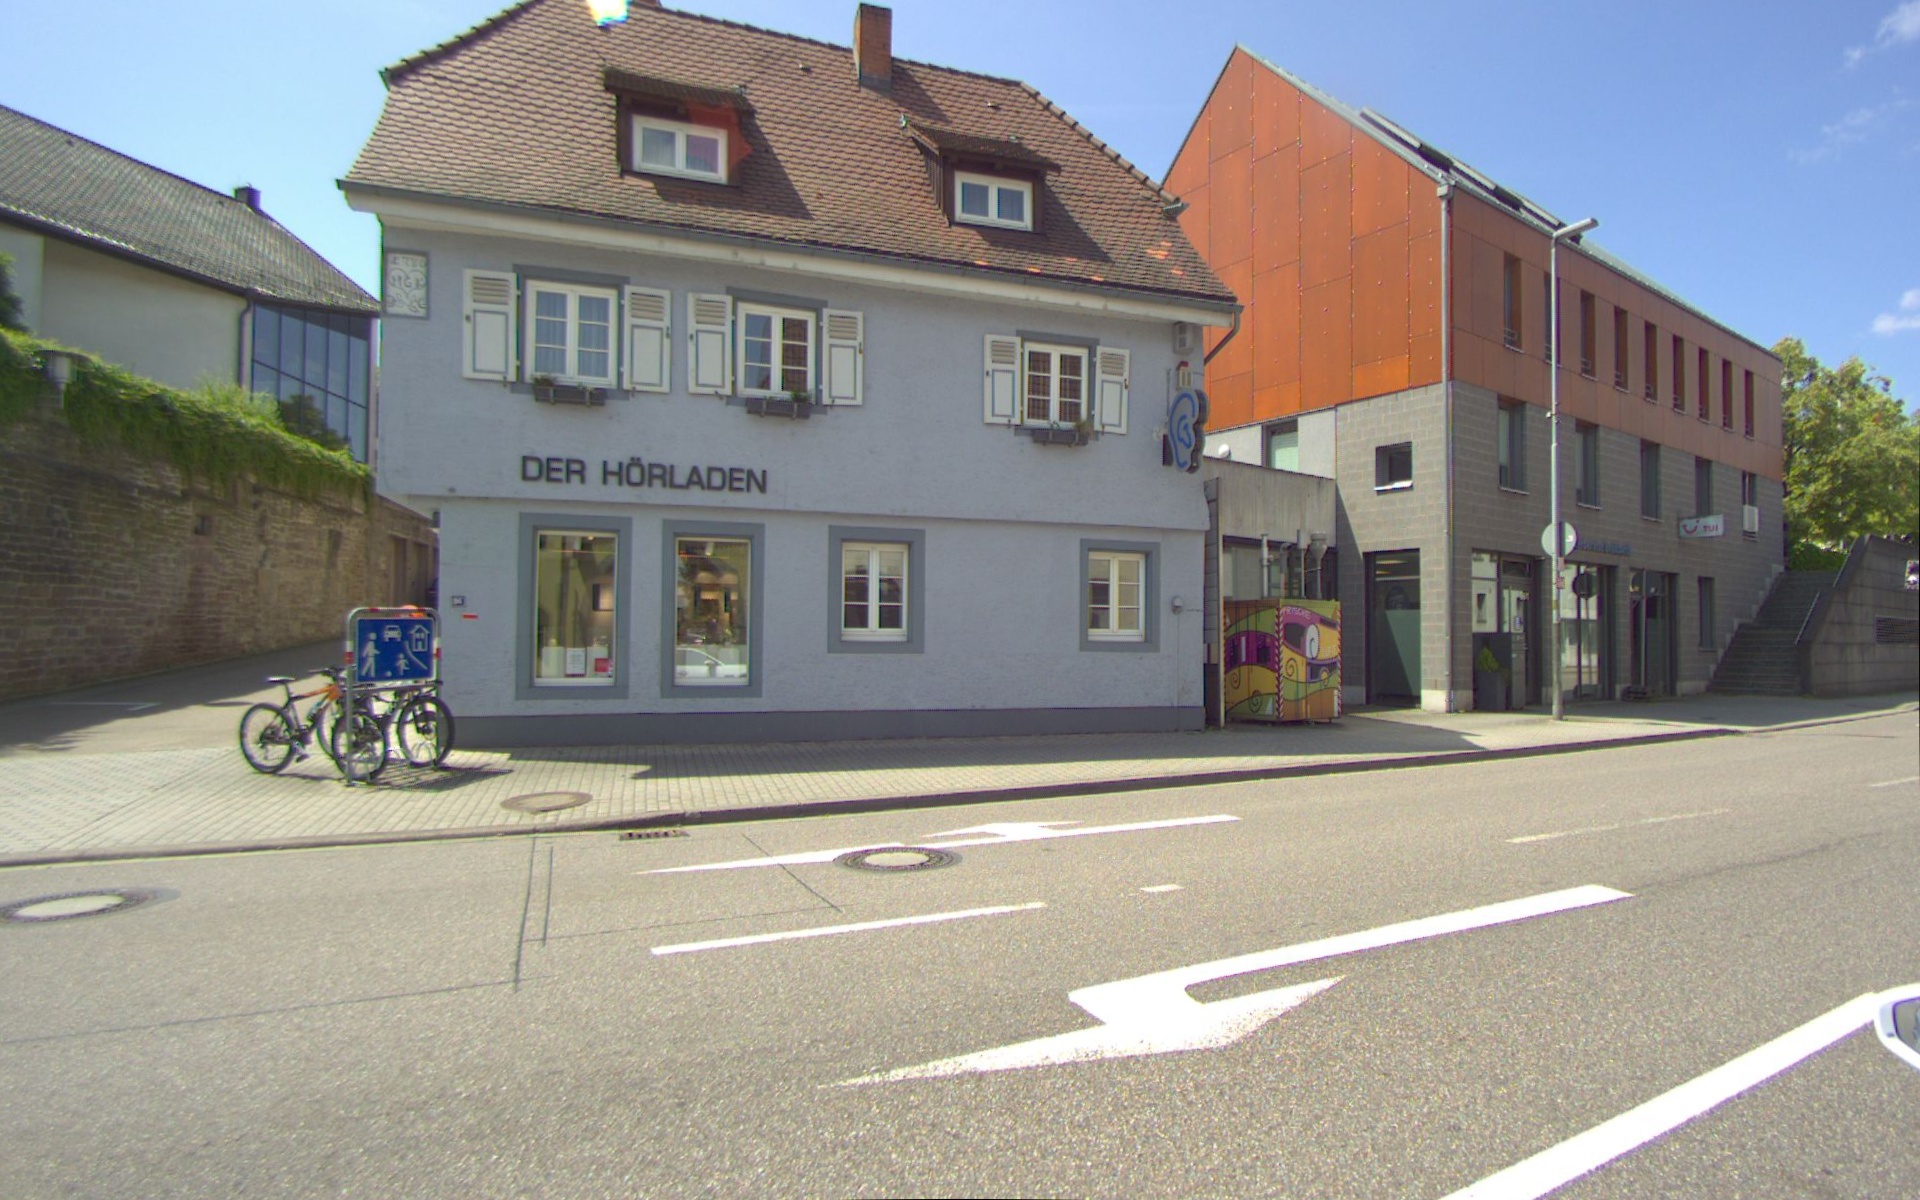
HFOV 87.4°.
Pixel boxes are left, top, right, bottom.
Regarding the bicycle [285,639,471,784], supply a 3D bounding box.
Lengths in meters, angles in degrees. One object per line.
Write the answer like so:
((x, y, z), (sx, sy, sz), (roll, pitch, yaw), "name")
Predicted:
((-5.790, 1.067, 9.981), (1.795, 1.266, 0.578), (2, 2, 20), "bicycle")

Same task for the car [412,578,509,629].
((-16.124, 0.115, 32.631), (1.952, 1.541, 3.989), (0, 0, -14), "car")

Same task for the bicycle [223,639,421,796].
((-5.938, 1.052, 9.344), (1.795, 1.266, 0.578), (2, 2, 20), "bicycle")
